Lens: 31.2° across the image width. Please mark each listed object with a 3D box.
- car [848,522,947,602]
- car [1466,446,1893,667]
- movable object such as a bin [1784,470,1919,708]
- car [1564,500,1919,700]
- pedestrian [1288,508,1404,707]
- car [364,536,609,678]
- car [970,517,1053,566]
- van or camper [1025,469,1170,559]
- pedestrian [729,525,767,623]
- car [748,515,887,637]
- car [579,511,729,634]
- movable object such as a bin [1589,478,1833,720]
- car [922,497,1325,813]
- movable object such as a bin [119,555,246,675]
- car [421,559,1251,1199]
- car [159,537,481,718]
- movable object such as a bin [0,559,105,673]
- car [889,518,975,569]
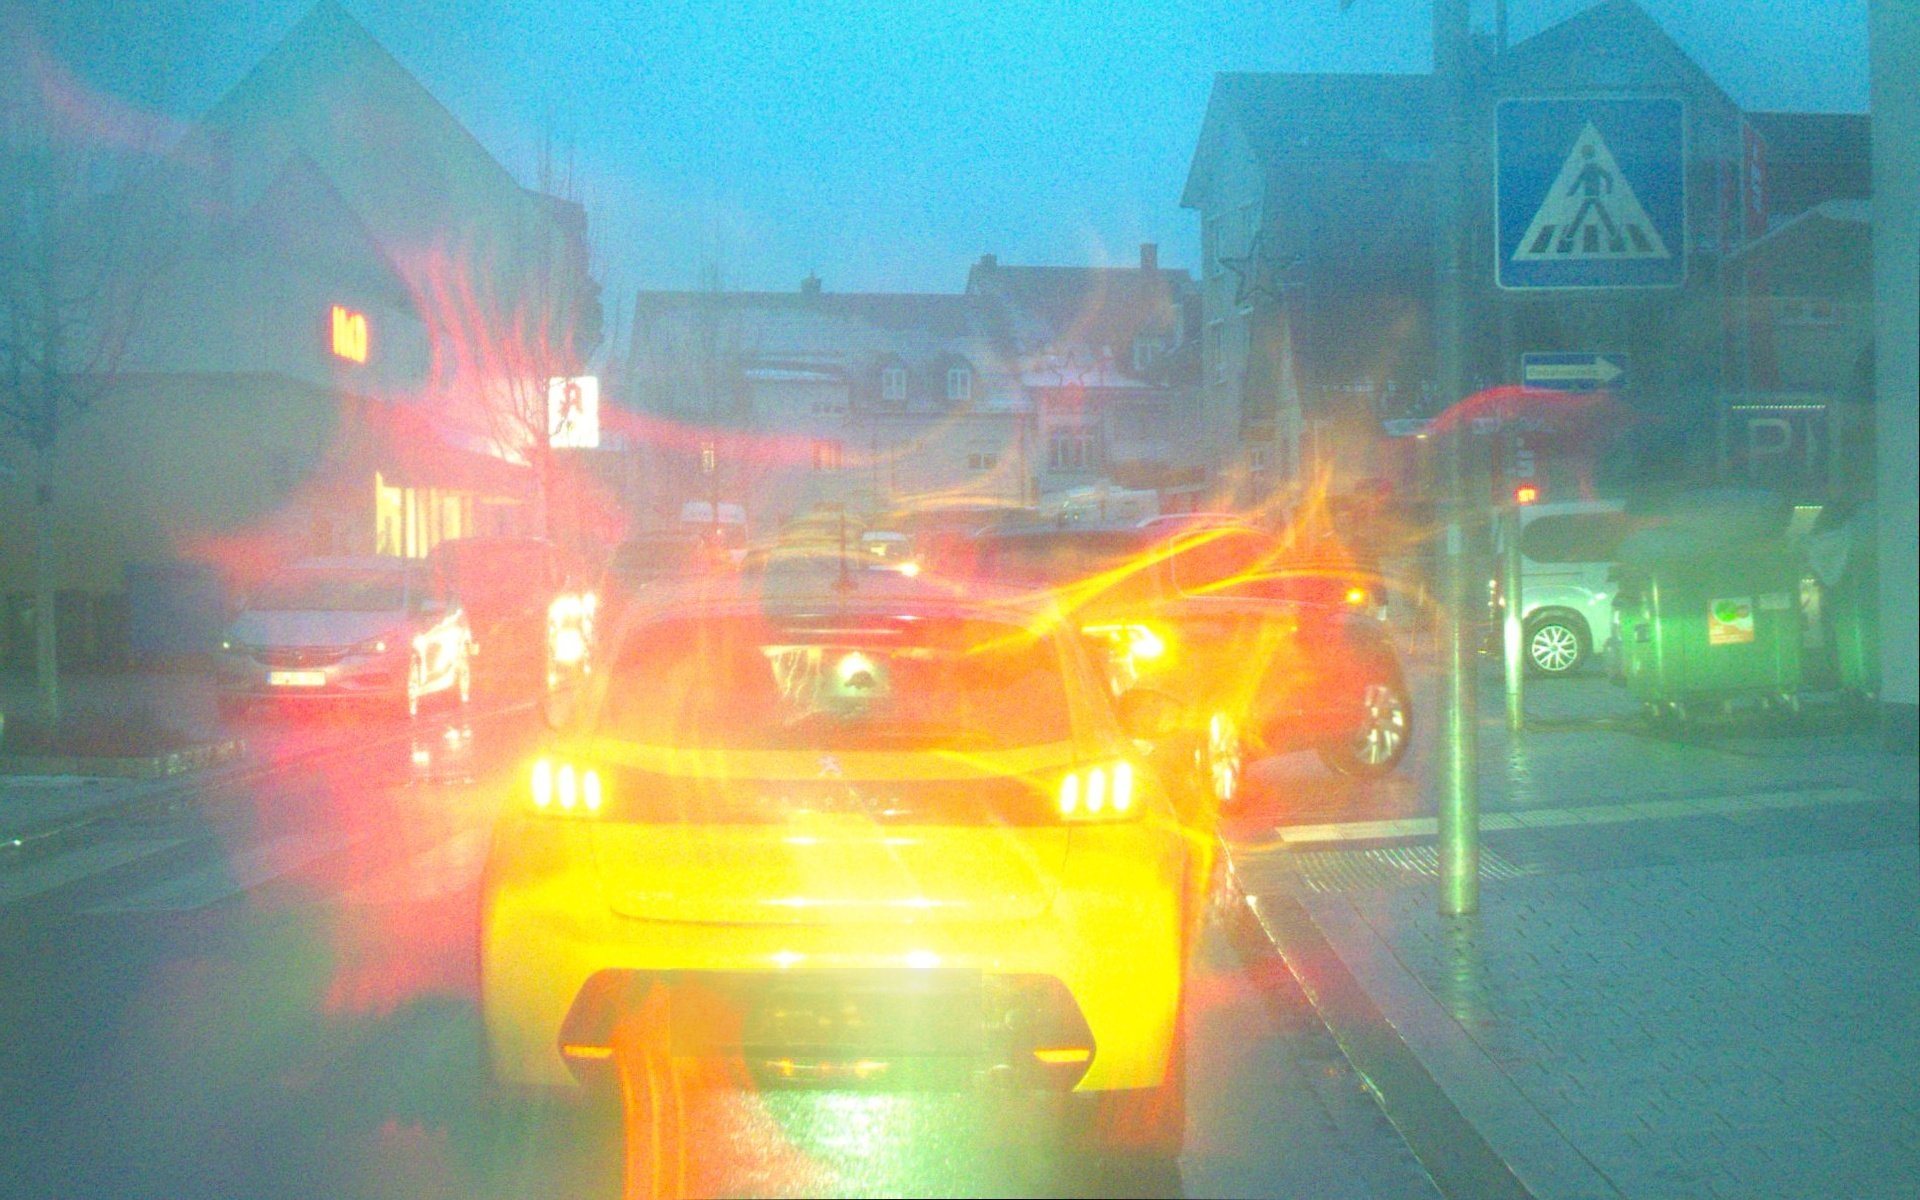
[{"bbox_3d":[-1.424,-0.877,76.250,1.951,1.541,4.417,2,3,-4],"label":"car"},{"bbox_3d":[7.332,-0.445,35.298,4.092,2.042,1.999,-2,1,10],"label":"car"},{"bbox_3d":[6.755,-0.104,24.716,1.285,1.638,1.185,-3,1,-1],"label":"movable object such as a bin"},{"bbox_3d":[6.908,-0.013,27.252,3.987,1.481,1.912,-1,0,5],"label":"car"},{"bbox_3d":[3.726,0.066,33.248,0.966,1.883,1.006,1,1,-1],"label":"pedestrian"},{"bbox_3d":[-5.348,0.040,39.472,1.993,1.517,4.978,0,1,2],"label":"car"},{"bbox_3d":[1.837,-2.112,124.486,1.993,1.605,4.175,-3,0,-13],"label":"car"},{"bbox_3d":[4.955,-3.107,125.158,2.650,3.037,6.736,-4,2,-21],"label":"van or camper"},{"bbox_3d":[-3.470,-0.427,56.226,0.574,1.580,0.530,-1,2,0],"label":"pedestrian"},{"bbox_3d":[-2.202,-0.426,54.346,1.993,1.700,4.967,2,2,0],"label":"car"},{"bbox_3d":[-4.634,-0.465,52.634,2.085,1.786,5.025,0,1,-3],"label":"car"},{"bbox_3d":[5.394,-0.020,24.787,1.393,1.638,1.262,-3,1,-1],"label":"movable object such as a bin"},{"bbox_3d":[0.828,0.257,19.802,1.992,1.619,4.000,1,1,-2],"label":"car"},{"bbox_3d":[-9.383,0.172,41.521,1.340,1.349,0.889,-4,1,-8],"label":"movable object such as a bin"},{"bbox_3d":[-0.278,0.664,9.569,1.814,1.528,4.000,1,1,0],"label":"car"},{"bbox_3d":[-5.866,0.195,32.094,1.993,1.552,4.621,1,1,2],"label":"car"},{"bbox_3d":[-10.918,0.184,41.364,1.149,1.349,0.852,0,1,-9],"label":"movable object such as a bin"},{"bbox_3d":[-1.030,-2.055,124.208,1.993,1.759,4.352,-3,2,-15],"label":"car"}]
